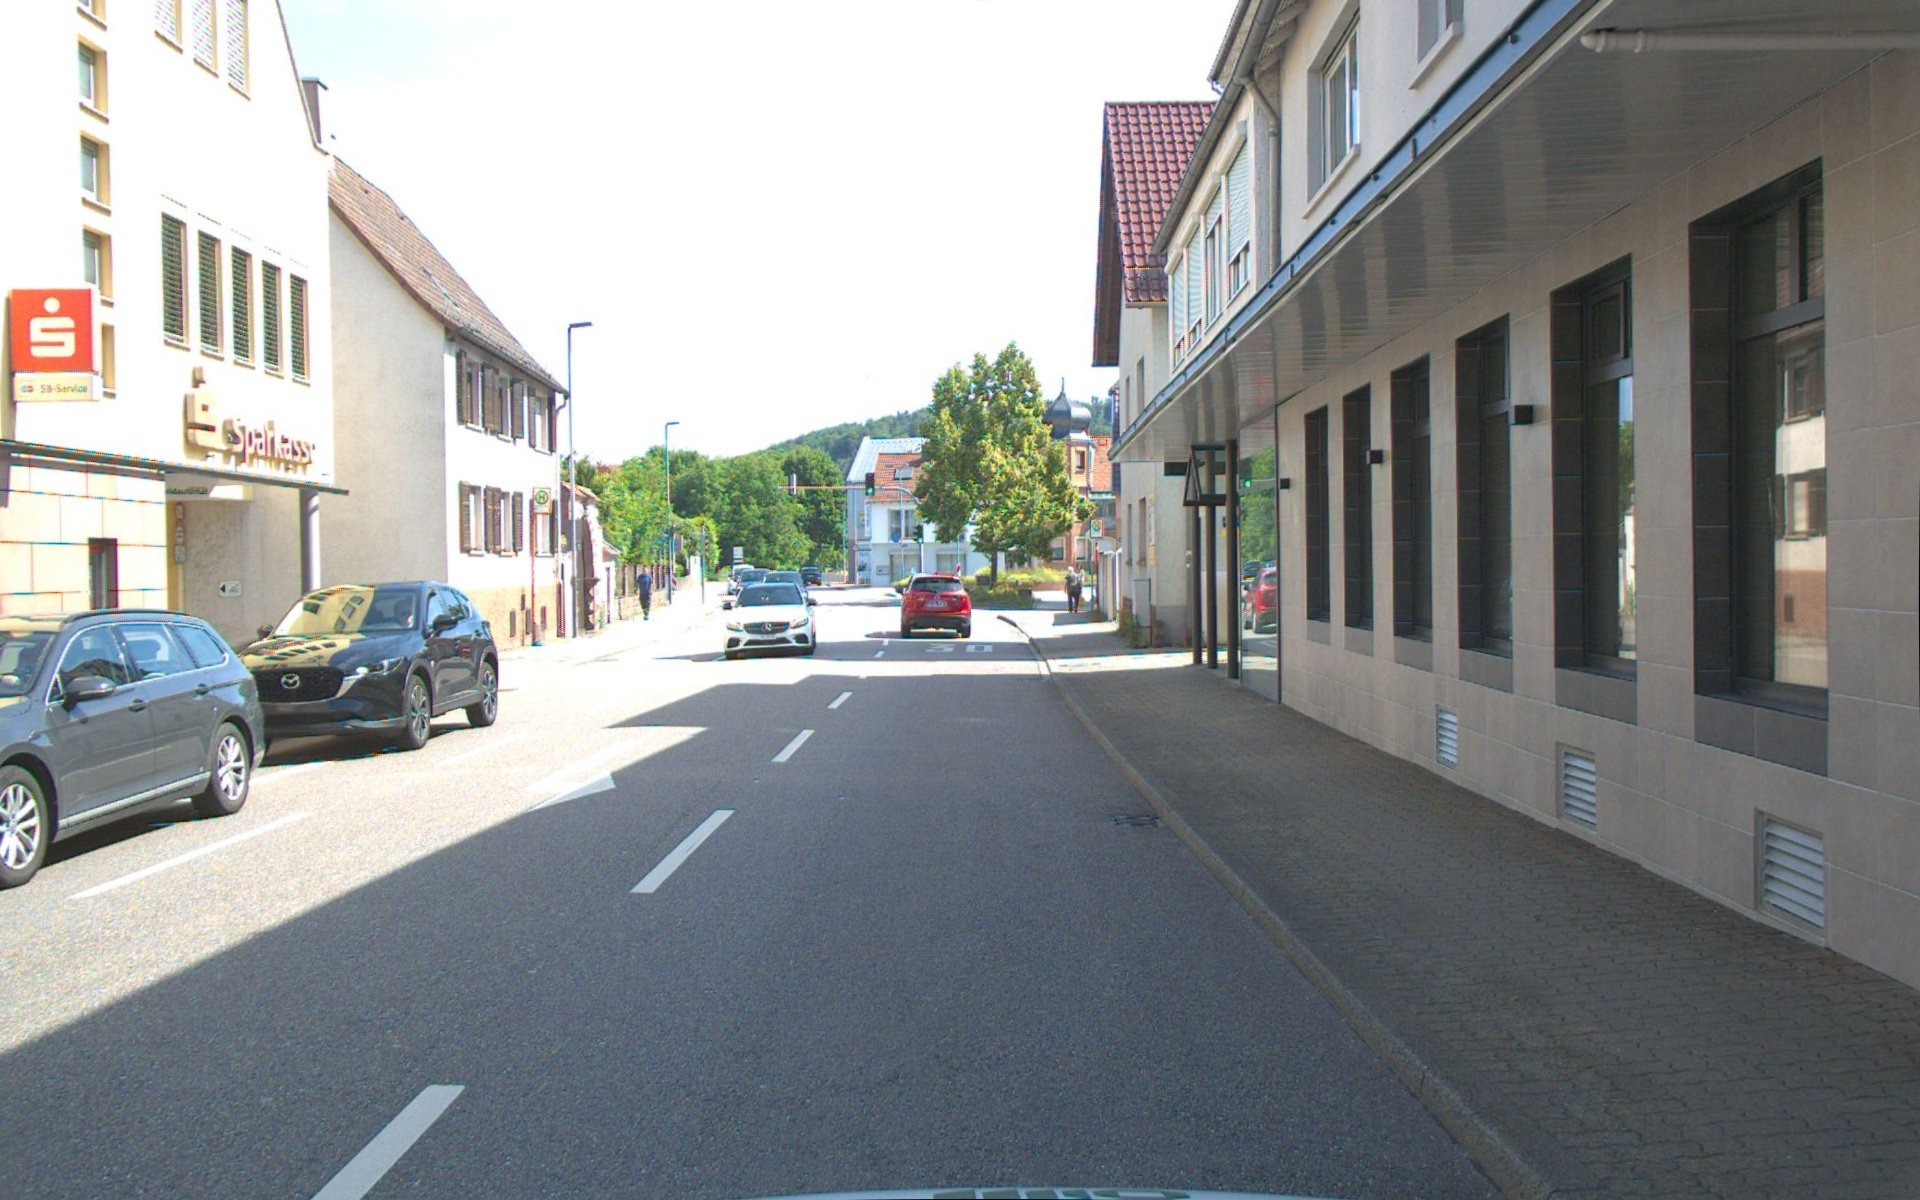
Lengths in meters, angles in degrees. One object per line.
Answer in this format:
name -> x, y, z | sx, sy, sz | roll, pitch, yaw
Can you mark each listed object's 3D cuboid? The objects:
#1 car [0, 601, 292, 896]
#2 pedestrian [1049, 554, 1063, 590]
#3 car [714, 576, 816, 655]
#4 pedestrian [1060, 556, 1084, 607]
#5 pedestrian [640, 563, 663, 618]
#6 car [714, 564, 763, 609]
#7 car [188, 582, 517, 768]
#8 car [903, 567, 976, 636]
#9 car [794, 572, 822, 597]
car -> -5.837, 0.805, 10.094 | 1.753, 1.476, 4.423 | -3, 0, -1
pedestrian -> 5.171, -1.509, 89.189 | 0.630, 1.912, 0.651 | -2, -2, -7
car -> -4.043, 0.301, 34.993 | 1.949, 1.469, 5.095 | -2, 0, -5
pedestrian -> 3.873, -0.635, 57.239 | 0.630, 1.737, 0.699 | -2, -2, -7
pedestrian -> -10.677, -0.329, 57.247 | 0.653, 1.856, 0.798 | -2, -2, -7
car -> -9.895, -0.582, 74.132 | 1.739, 1.816, 3.837 | -2, -1, -2
car -> -6.187, 0.676, 17.456 | 1.830, 1.617, 4.517 | -3, 0, -1
car -> -0.497, 0.028, 44.303 | 1.820, 1.744, 4.422 | 0, 0, 1
car -> -12.263, -1.213, 133.598 | 1.893, 1.825, 3.955 | -2, -1, 0
